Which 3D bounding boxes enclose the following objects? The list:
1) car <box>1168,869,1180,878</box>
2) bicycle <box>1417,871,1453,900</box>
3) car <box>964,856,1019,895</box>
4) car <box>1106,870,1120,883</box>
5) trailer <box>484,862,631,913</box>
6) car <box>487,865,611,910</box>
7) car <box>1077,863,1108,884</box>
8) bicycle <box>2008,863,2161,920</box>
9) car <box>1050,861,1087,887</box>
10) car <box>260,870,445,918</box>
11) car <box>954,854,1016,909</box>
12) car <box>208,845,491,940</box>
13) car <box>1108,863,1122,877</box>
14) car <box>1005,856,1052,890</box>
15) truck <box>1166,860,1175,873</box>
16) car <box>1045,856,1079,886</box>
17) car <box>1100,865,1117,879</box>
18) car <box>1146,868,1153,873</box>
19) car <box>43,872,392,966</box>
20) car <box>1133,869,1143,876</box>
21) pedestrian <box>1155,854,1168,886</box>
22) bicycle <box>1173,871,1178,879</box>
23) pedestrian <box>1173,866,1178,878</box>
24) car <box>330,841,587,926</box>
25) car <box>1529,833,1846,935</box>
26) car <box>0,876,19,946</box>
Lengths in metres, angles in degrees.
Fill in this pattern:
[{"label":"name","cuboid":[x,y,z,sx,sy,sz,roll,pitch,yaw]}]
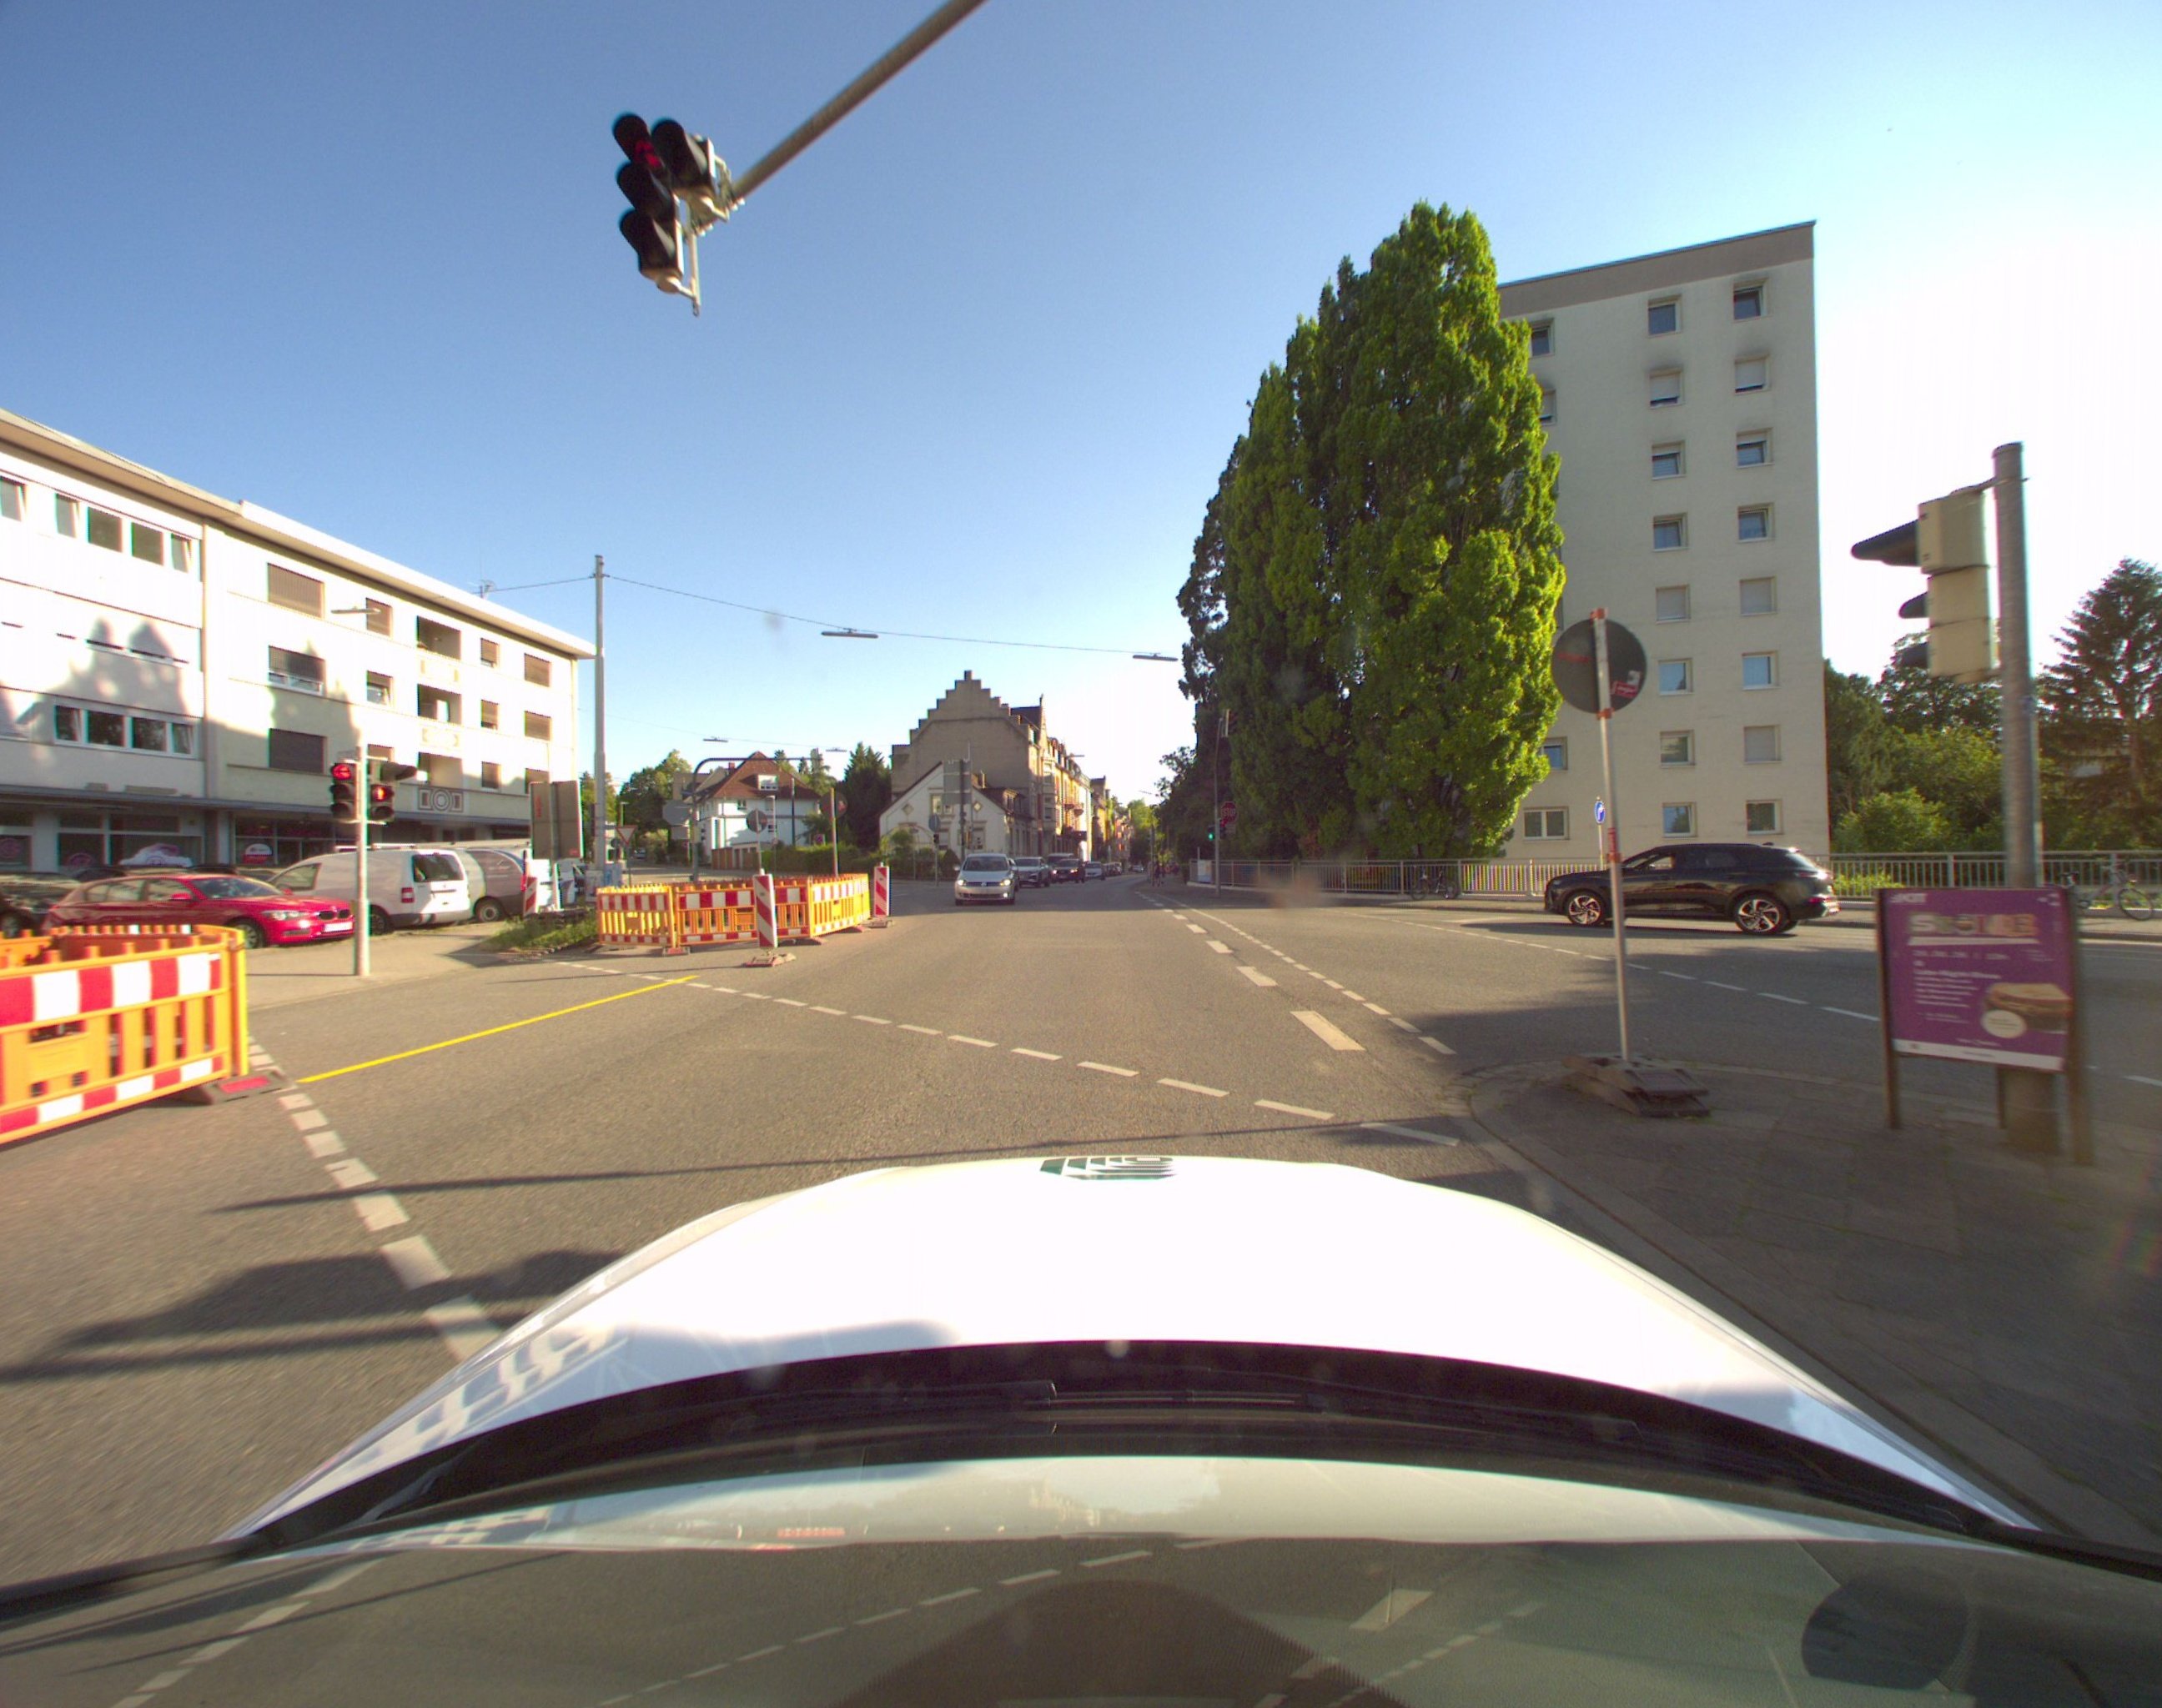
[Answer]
[{"label":"car","cuboid":[17.020,3.492,149.593,1.982,1.517,4.010,-2,0,8]},{"label":"bicycle","cuboid":[11.766,1.036,27.081,1.292,0.903,0.406,0,0,-29]},{"label":"car","cuboid":[-3.636,0.827,33.573,1.769,1.480,4.096,0,0,0]},{"label":"car","cuboid":[4.332,3.069,110.840,1.694,1.738,3.863,0,-1,6]},{"label":"trailer","cuboid":[-15.181,0.955,23.729,3.242,1.397,1.574,0,0,1]},{"label":"car","cuboid":[-22.164,1.357,33.947,4.280,1.715,2.009,0,0,17]},{"label":"car","cuboid":[1.023,1.589,68.816,1.941,1.648,4.296,0,0,10]},{"label":"bicycle","cuboid":[20.022,0.719,16.295,1.899,1.068,0.619,0,0,44]},{"label":"car","cuboid":[-0.807,1.320,55.432,1.943,1.648,4.292,0,0,7]},{"label":"car","cuboid":[-23.260,1.246,26.097,4.292,1.398,2.003,0,0,5]},{"label":"car","cuboid":[-2.918,0.790,25.316,1.773,1.543,3.993,0,0,-5]},{"label":"car","cuboid":[-15.216,0.752,17.087,4.292,1.852,2.003,0,0,6]},{"label":"car","cuboid":[5.093,2.370,121.500,1.784,2.010,4.705,0,-1,6]},{"label":"car","cuboid":[-2.692,0.938,42.795,1.767,1.648,4.540,0,0,5]},{"label":"truck","cuboid":[21.030,2.935,190.768,1.983,2.897,4.479,-2,0,7]},{"label":"car","cuboid":[-1.608,1.461,70.562,2.056,2.460,6.026,0,-1,7]},{"label":"car","cuboid":[3.534,2.264,104.533,1.693,1.708,4.450,0,-1,8]},{"label":"car","cuboid":[20.872,4.973,248.824,1.983,1.491,4.479,-2,0,7]},{"label":"car","cuboid":[-15.128,1.089,14.479,3.979,1.479,1.999,0,0,-1]},{"label":"car","cuboid":[12.826,4.151,182.591,1.983,1.491,4.479,-2,0,7]},{"label":"pedestrian","cuboid":[4.332,0.866,43.750,0.599,1.693,0.613,-2,0,6]},{"label":"bicycle","cuboid":[11.054,2.456,94.835,0.564,0.970,0.493,0,0,4]},{"label":"pedestrian","cuboid":[11.107,2.125,95.432,0.595,1.403,0.669,0,0,5]},{"label":"car","cuboid":[-15.107,0.693,19.979,4.650,1.965,2.118,0,0,1]},{"label":"car","cuboid":[11.497,0.561,15.718,2.010,1.670,4.608,3,-3,-42]},{"label":"car","cuboid":[-23.752,1.139,15.686,4.292,1.398,2.003,0,0,5]}]
